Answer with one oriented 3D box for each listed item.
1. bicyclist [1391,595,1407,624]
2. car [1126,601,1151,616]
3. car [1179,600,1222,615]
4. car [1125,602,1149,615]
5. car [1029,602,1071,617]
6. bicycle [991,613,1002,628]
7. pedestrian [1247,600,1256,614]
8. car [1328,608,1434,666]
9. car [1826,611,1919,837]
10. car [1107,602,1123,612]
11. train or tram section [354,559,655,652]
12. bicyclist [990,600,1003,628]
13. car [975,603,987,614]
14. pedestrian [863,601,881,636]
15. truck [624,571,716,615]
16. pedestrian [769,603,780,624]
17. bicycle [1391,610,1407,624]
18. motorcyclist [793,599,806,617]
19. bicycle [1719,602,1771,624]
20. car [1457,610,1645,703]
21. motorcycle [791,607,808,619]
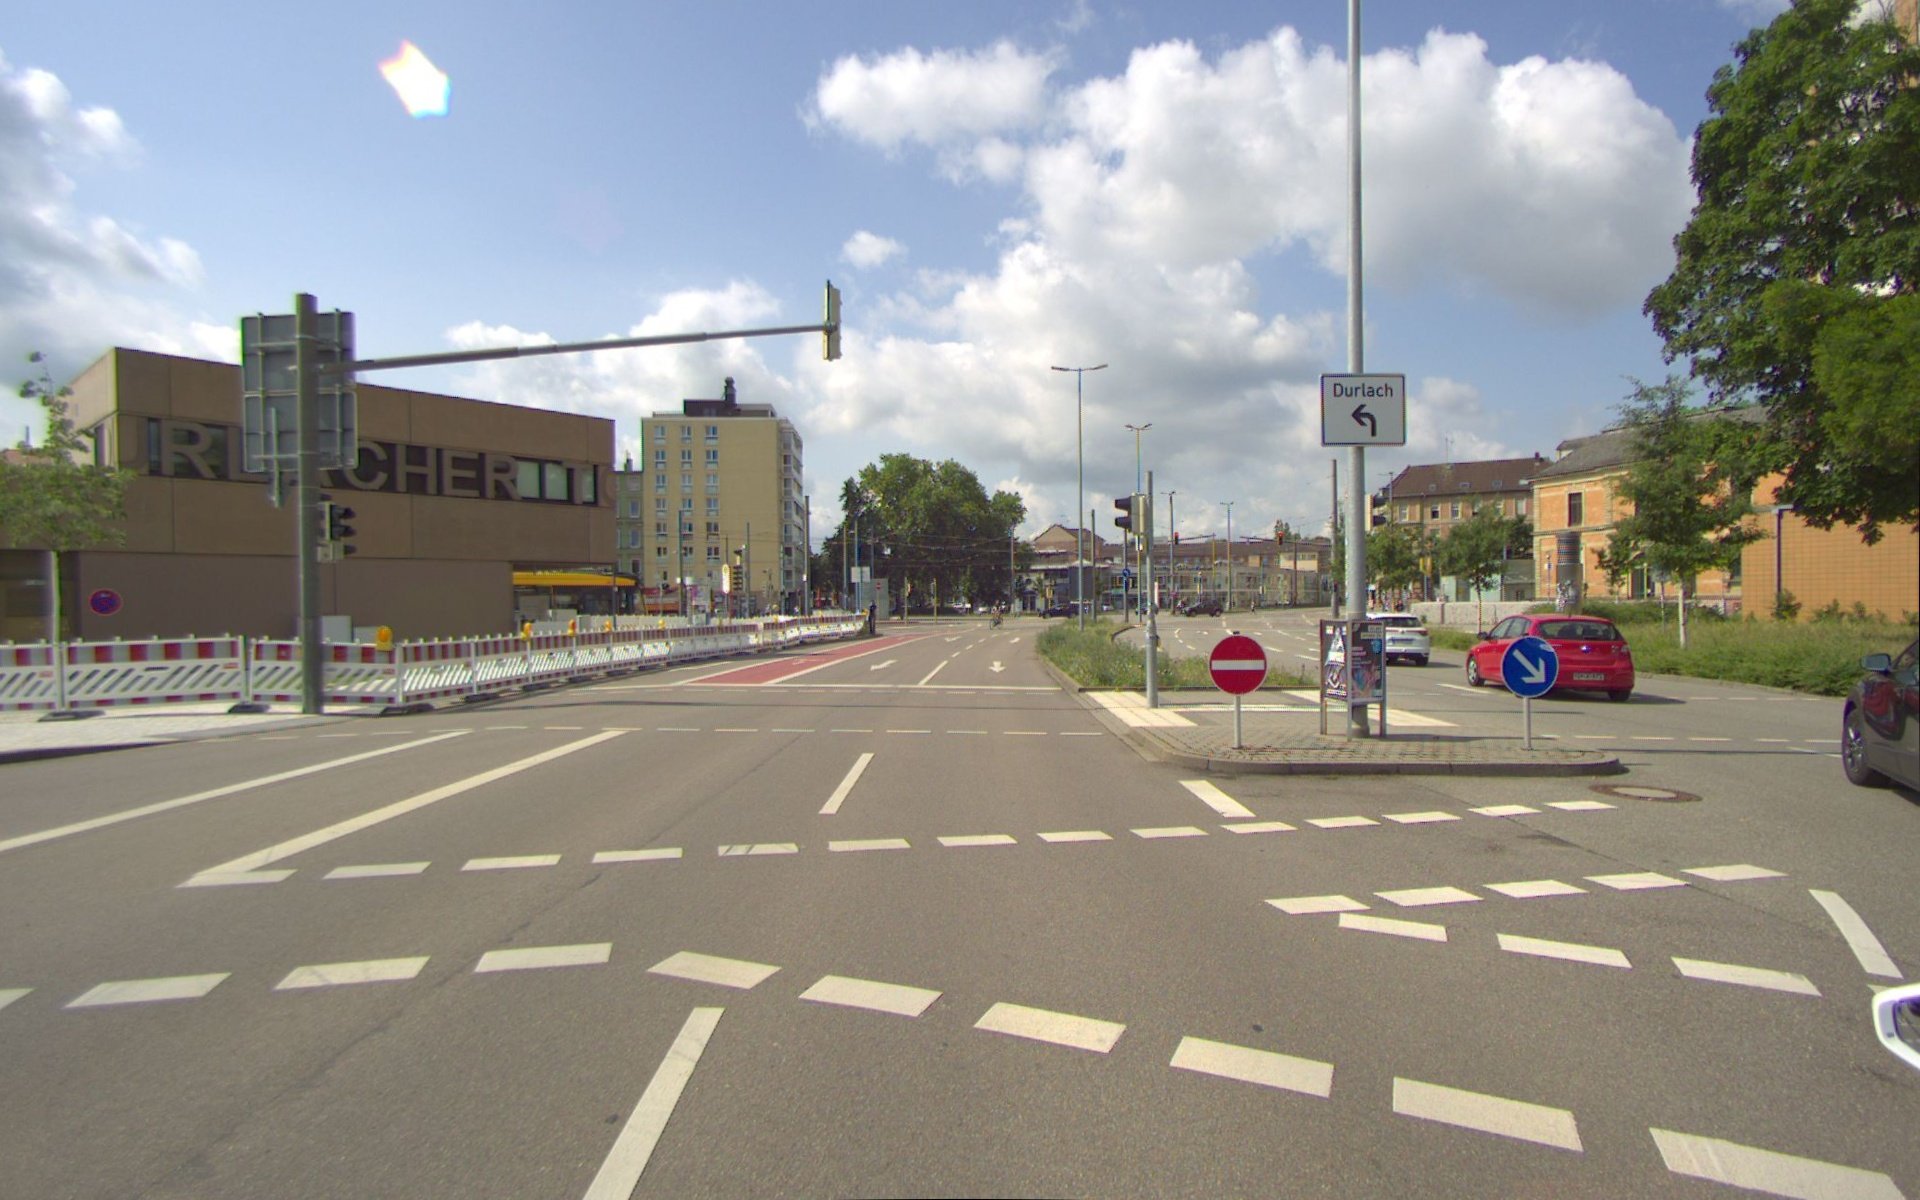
[{"bbox_3d":[27.111,0.594,62.097,0.723,1.725,0.966,-2,0,15],"label":"bicyclist"},{"bbox_3d":[21.775,1.055,122.506,1.818,1.742,3.993,-1,0,29],"label":"car"},{"bbox_3d":[24.932,0.800,104.181,4.003,1.528,1.813,0,0,-4],"label":"car"},{"bbox_3d":[21.840,1.094,123.671,1.962,1.550,3.997,-1,0,25],"label":"car"},{"bbox_3d":[9.207,0.965,103.120,4.003,1.528,1.813,0,0,-4],"label":"car"},{"bbox_3d":[2.443,1.351,66.752,0.606,1.015,2.019,0,0,6],"label":"bicycle"},{"bbox_3d":[33.280,0.807,114.680,0.667,1.556,0.669,-1,0,-28],"label":"pedestrian"},{"bbox_3d":[11.941,0.994,28.786,1.816,1.492,4.337,-1,0,9],"label":"car"},{"bbox_3d":[7.839,0.853,7.256,1.781,1.528,4.194,0,-1,32],"label":"car"},{"bbox_3d":[24.977,1.109,162.309,1.960,1.617,4.000,0,0,0],"label":"car"},{"bbox_3d":[-19.777,0.214,44.914,2.628,3.620,12.353,0,0,40],"label":"train or tram section"},{"bbox_3d":[2.403,0.941,66.482,0.797,1.847,1.159,0,0,6],"label":"bicyclist"},{"bbox_3d":[3.501,1.388,166.456,1.767,1.793,4.002,-1,0,6],"label":"car"},{"bbox_3d":[-4.348,0.913,49.560,0.723,1.704,0.641,0,0,8],"label":"pedestrian"},{"bbox_3d":[-26.662,-0.617,92.534,7.788,3.907,2.199,-1,0,-5],"label":"truck"},{"bbox_3d":[-16.769,1.185,90.855,0.687,1.885,0.819,0,0,11],"label":"pedestrian"},{"bbox_3d":[27.127,1.056,62.067,0.614,0.821,1.789,-2,0,15],"label":"bicycle"},{"bbox_3d":[-16.824,0.828,105.430,0.872,1.805,1.243,-1,0,16],"label":"motorcyclist"},{"bbox_3d":[39.973,0.677,51.168,0.657,1.087,2.060,-1,0,-23],"label":"bicycle"},{"bbox_3d":[10.784,0.950,18.674,1.785,1.459,4.069,1,0,12],"label":"car"},{"bbox_3d":[-16.827,1.355,105.265,0.768,1.130,2.436,-1,0,16],"label":"motorcycle"}]
